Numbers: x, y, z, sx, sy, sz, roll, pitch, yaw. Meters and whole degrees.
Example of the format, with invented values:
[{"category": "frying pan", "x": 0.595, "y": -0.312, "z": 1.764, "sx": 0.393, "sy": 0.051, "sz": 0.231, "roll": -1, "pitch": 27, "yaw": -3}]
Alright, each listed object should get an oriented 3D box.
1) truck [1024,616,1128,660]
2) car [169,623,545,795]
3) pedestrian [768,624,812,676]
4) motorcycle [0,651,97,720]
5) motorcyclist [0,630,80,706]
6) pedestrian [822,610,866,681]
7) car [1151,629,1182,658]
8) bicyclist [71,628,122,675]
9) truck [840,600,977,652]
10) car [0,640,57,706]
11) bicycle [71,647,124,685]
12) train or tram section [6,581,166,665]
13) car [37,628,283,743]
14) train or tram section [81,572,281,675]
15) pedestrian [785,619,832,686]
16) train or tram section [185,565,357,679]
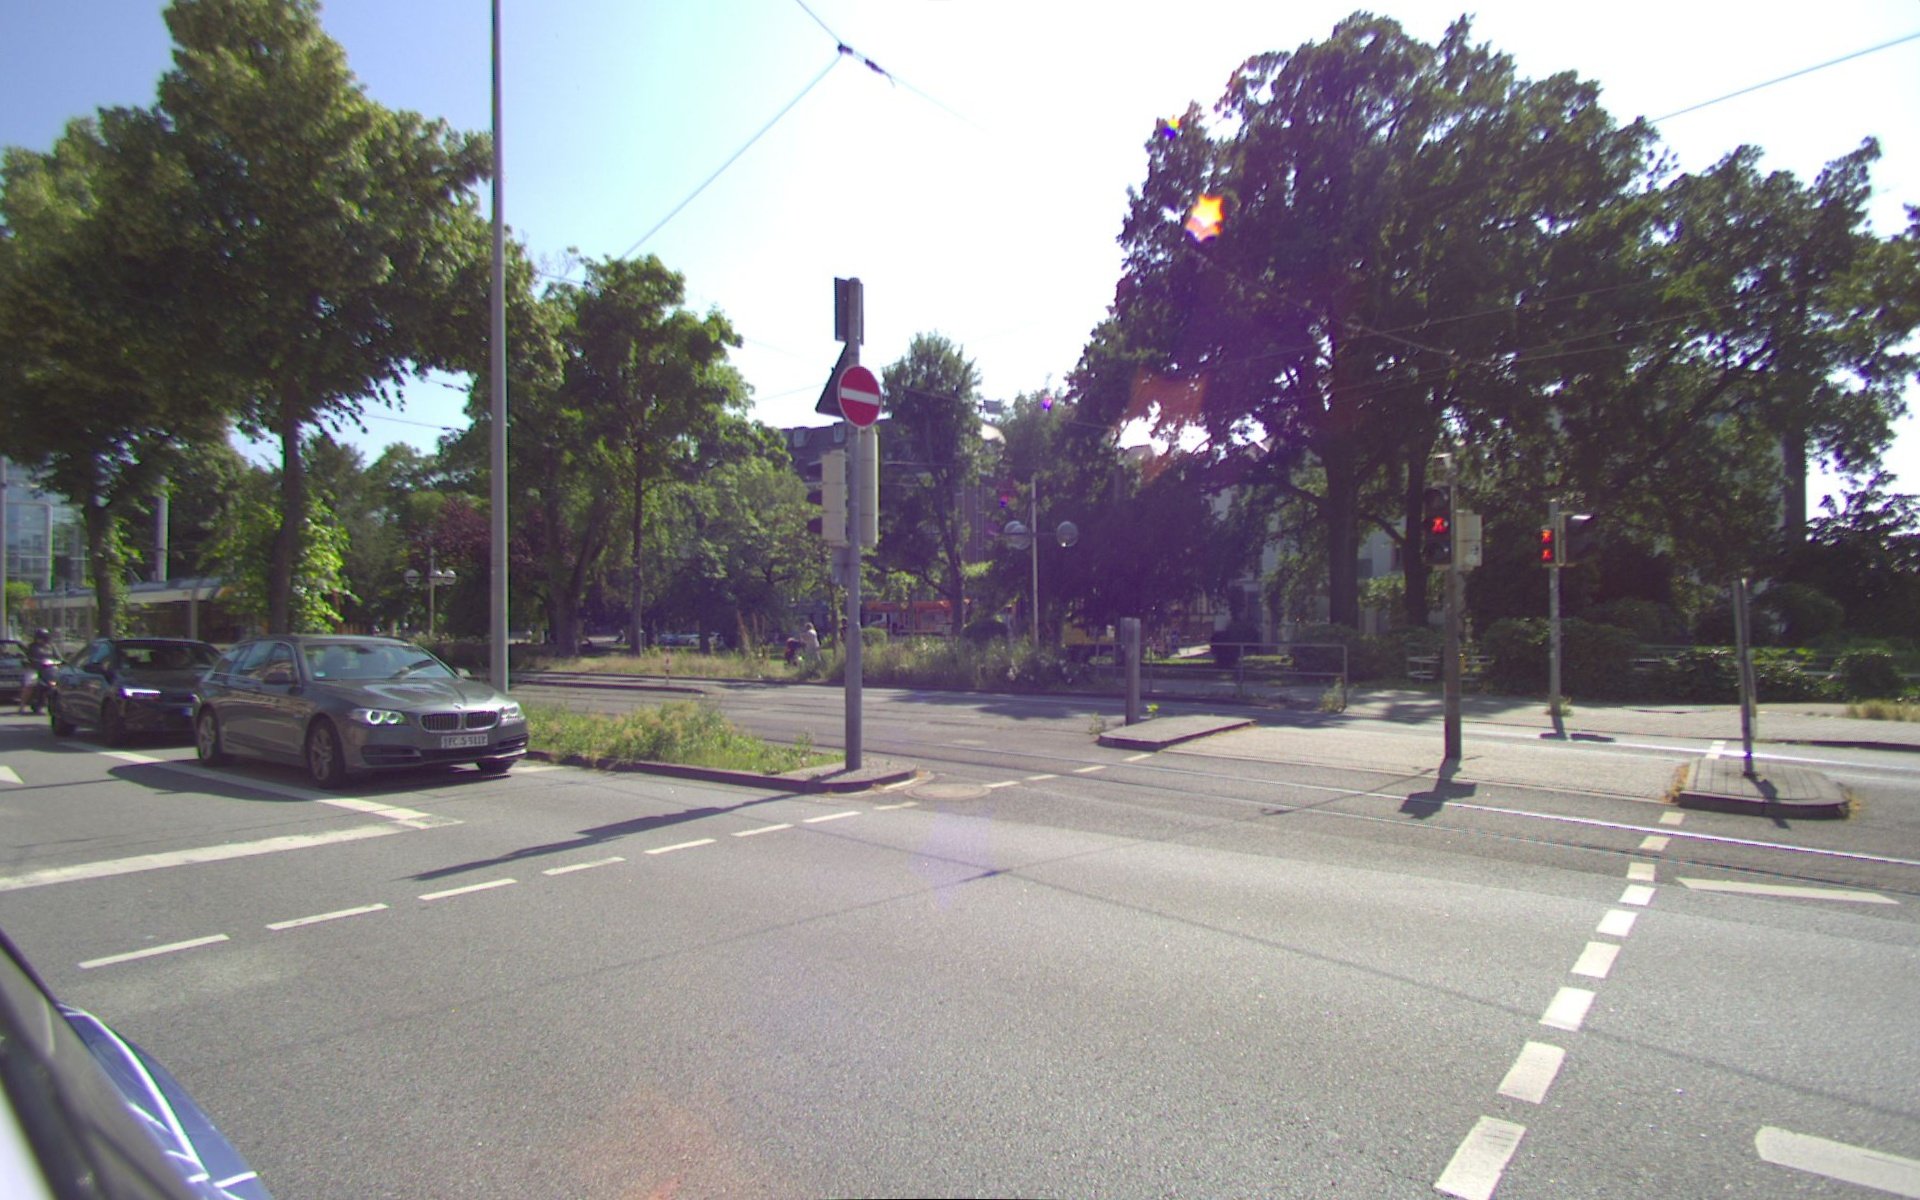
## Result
[{"category": "truck", "x": 8.867, "y": 2.923, "z": 77.811, "sx": 7.627, "sy": 3.240, "sz": 2.440, "roll": -1, "pitch": -3, "yaw": 31}, {"category": "car", "x": -6.635, "y": 1.042, "z": 10.936, "sx": 4.737, "sy": 1.497, "sz": 1.732, "roll": -2, "pitch": -3, "yaw": 36}, {"category": "pedestrian", "x": -5.407, "y": 1.573, "z": 32.160, "sx": 0.934, "sy": 1.632, "sz": 1.025, "roll": -2, "pitch": -3, "yaw": 42}, {"category": "motorcycle", "x": -17.045, "y": 1.558, "z": 18.853, "sx": 2.348, "sy": 1.172, "sz": 0.892, "roll": -2, "pitch": -3, "yaw": 35}, {"category": "motorcyclist", "x": -17.234, "y": 1.254, "z": 18.964, "sx": 0.991, "sy": 1.369, "sz": 0.892, "roll": -2, "pitch": -3, "yaw": 35}, {"category": "pedestrian", "x": -3.599, "y": 1.410, "z": 31.463, "sx": 0.802, "sy": 2.167, "sz": 1.111, "roll": -2, "pitch": -3, "yaw": 42}, {"category": "car", "x": 15.365, "y": 3.217, "z": 75.065, "sx": 1.981, "sy": 2.029, "sz": 4.535, "roll": -1, "pitch": -1, "yaw": 15}, {"category": "bicyclist", "x": -26.613, "y": 1.577, "z": 31.181, "sx": 1.230, "sy": 1.404, "sz": 0.902, "roll": -2, "pitch": -3, "yaw": 35}, {"category": "truck", "x": -4.543, "y": 2.316, "z": 87.354, "sx": 11.765, "sy": 4.295, "sz": 3.595, "roll": -1, "pitch": -3, "yaw": 30}, {"category": "car", "x": -20.955, "y": 1.525, "z": 21.619, "sx": 3.905, "sy": 1.318, "sz": 1.619, "roll": -2, "pitch": -3, "yaw": 35}, {"category": "bicycle", "x": -26.561, "y": 2.014, "z": 31.151, "sx": 2.491, "sy": 1.091, "sz": 0.636, "roll": -1, "pitch": -1, "yaw": 35}, {"category": "train or tram section", "x": -39.913, "y": 1.112, "z": 45.999, "sx": 12.386, "sy": 3.429, "sz": 2.735, "roll": -2, "pitch": -3, "yaw": 36}, {"category": "car", "x": -11.512, "y": 1.163, "z": 14.498, "sx": 3.992, "sy": 1.422, "sz": 1.776, "roll": -3, "pitch": -3, "yaw": 37}, {"category": "train or tram section", "x": -30.015, "y": 0.970, "z": 38.675, "sx": 12.388, "sy": 3.429, "sz": 2.734, "roll": -2, "pitch": -3, "yaw": 37}, {"category": "pedestrian", "x": -4.712, "y": 1.619, "z": 31.491, "sx": 0.802, "sy": 2.029, "sz": 1.208, "roll": -2, "pitch": -3, "yaw": 42}, {"category": "train or tram section", "x": -22.643, "y": 0.772, "z": 33.180, "sx": 5.873, "sy": 3.429, "sz": 2.736, "roll": -2, "pitch": -3, "yaw": 35}]
